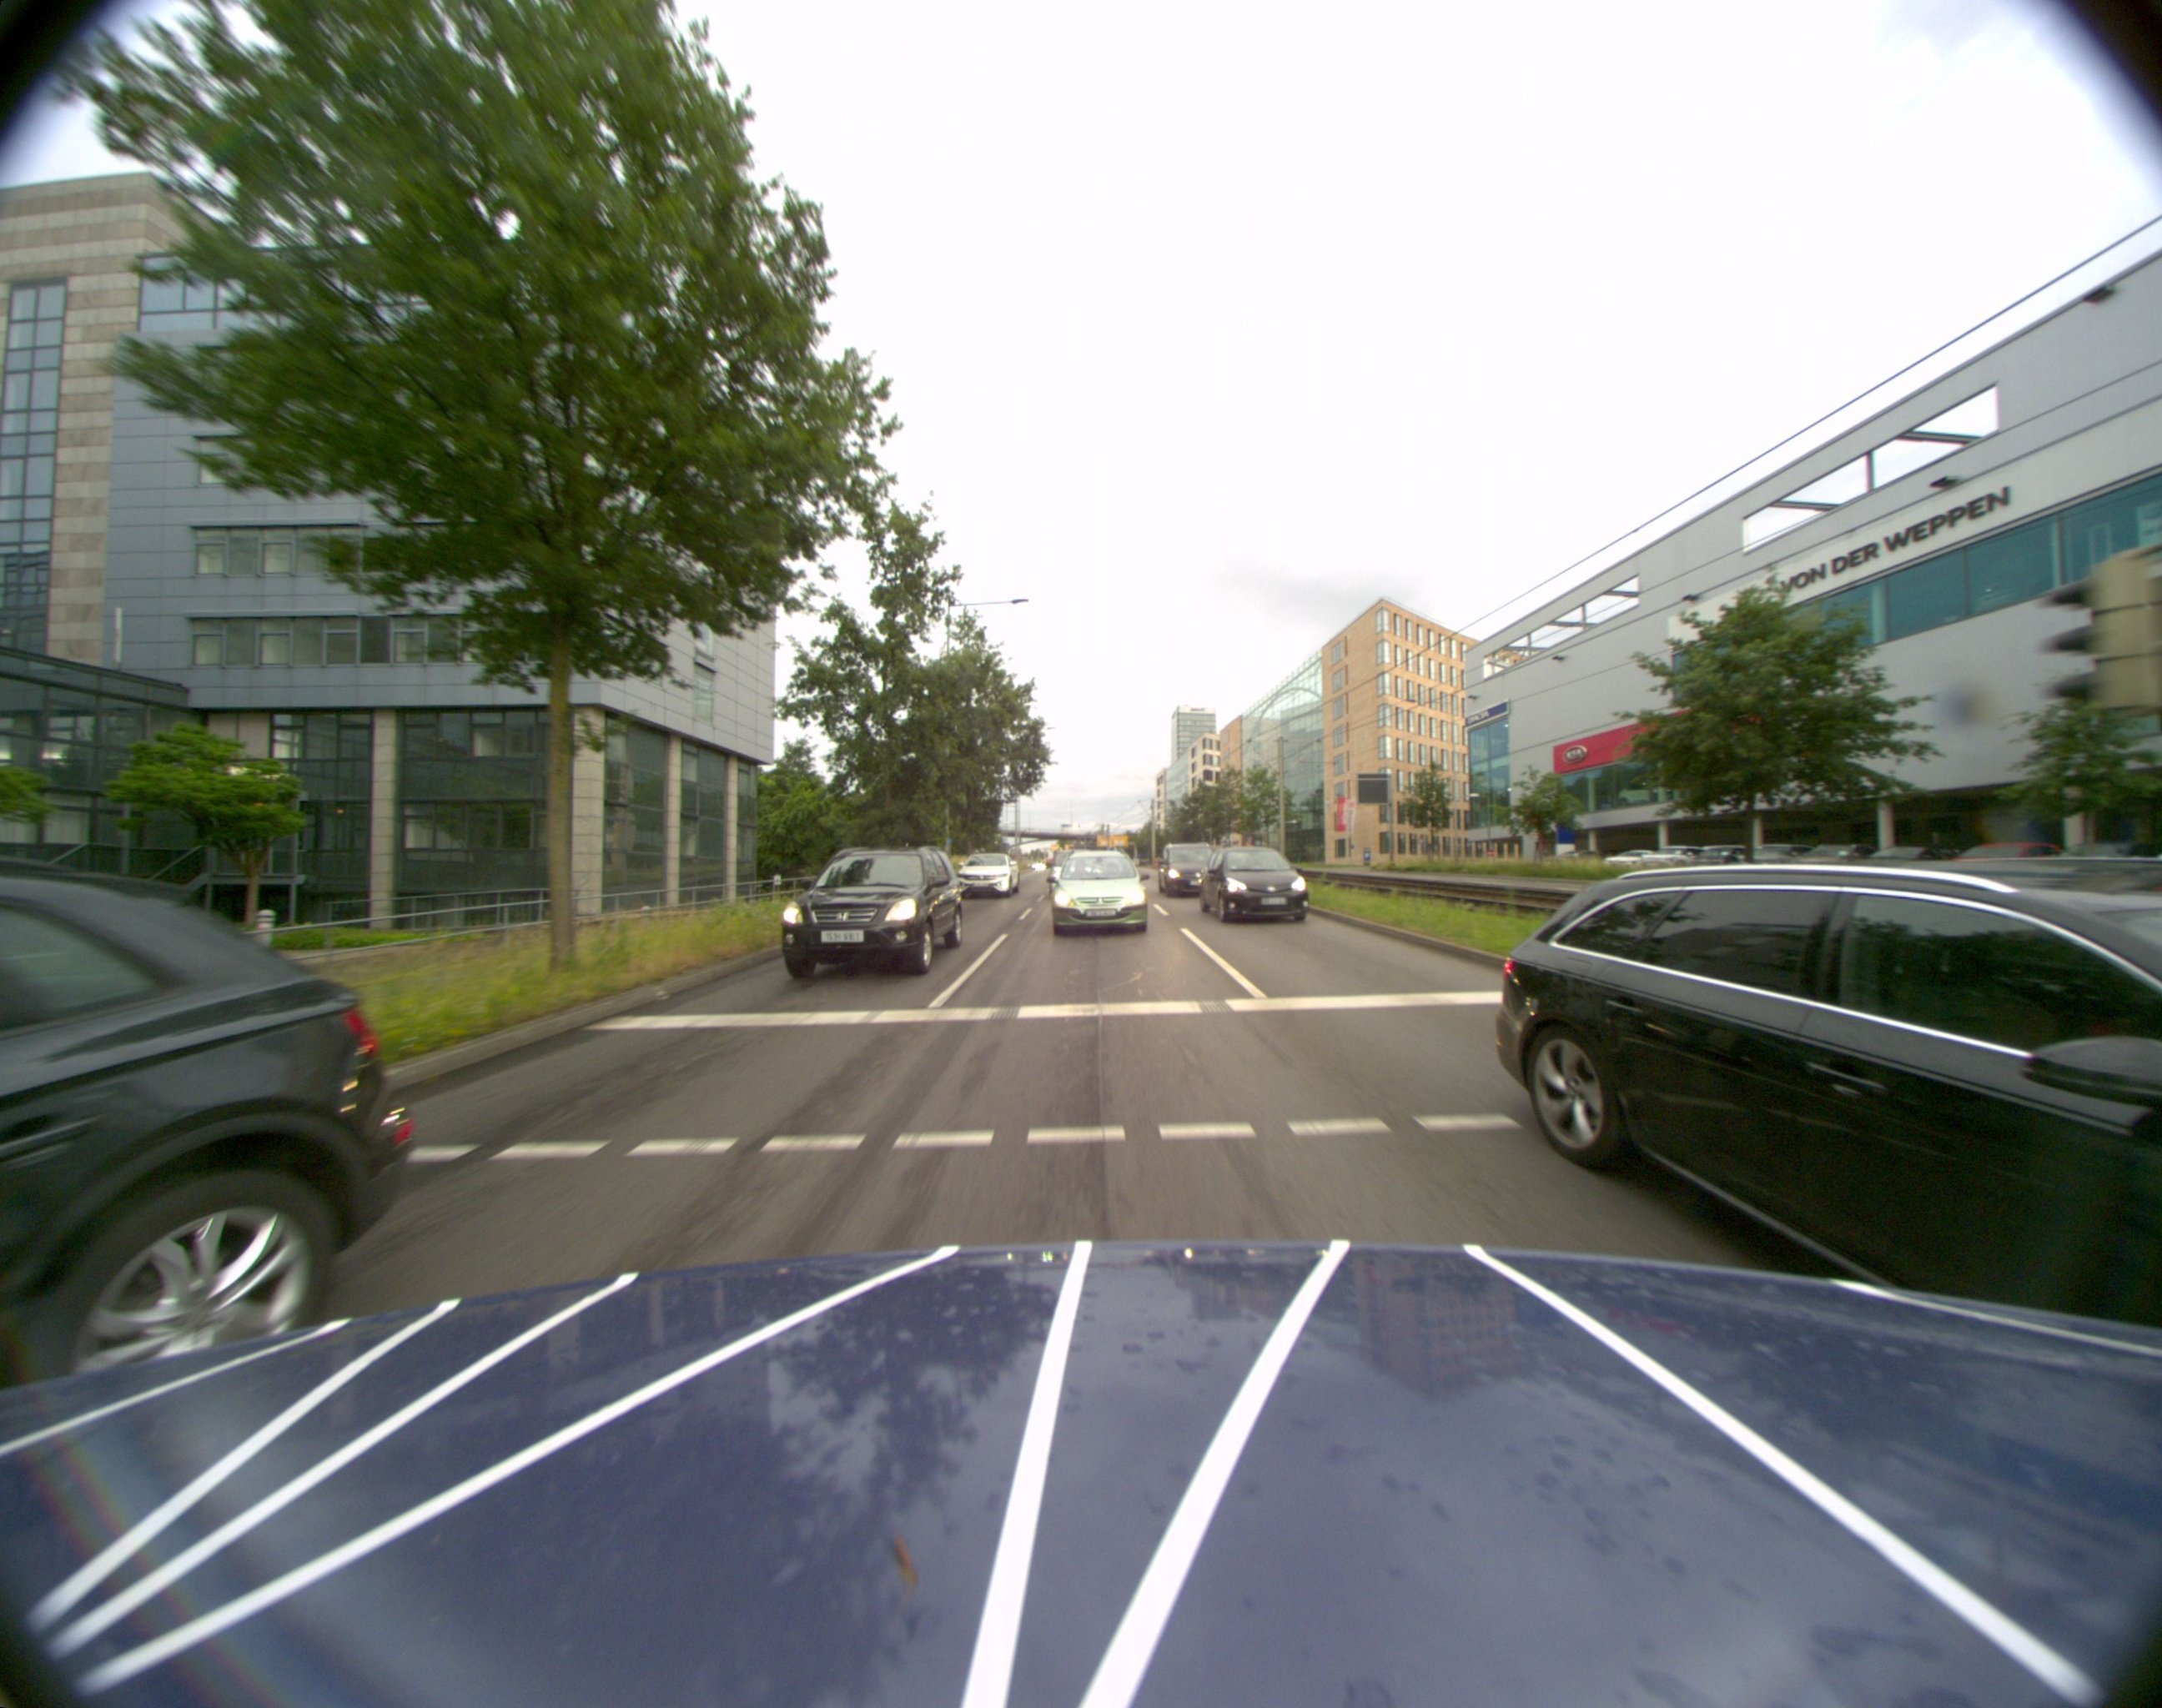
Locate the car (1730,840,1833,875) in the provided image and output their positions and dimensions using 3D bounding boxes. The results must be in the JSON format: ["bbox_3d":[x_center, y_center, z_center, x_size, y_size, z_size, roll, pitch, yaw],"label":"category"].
[{"bbox_3d":[32.321,0.165,35.069,3.845,1.482,1.821,-1,0,-17],"label":"car"}]

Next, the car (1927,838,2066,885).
[{"bbox_3d":[32.369,0.246,26.887,3.845,1.482,1.821,-1,0,-17],"label":"car"}]

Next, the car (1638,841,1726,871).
[{"bbox_3d":[32.006,0.104,40.510,3.845,1.482,1.821,-1,0,-17],"label":"car"}]

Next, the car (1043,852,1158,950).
[{"bbox_3d":[0.335,0.747,14.352,1.803,1.533,4.374,-1,0,1],"label":"car"}]

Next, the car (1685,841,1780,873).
[{"bbox_3d":[32.359,0.135,37.756,3.845,1.482,1.821,-1,0,-17],"label":"car"}]

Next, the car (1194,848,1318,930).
[{"bbox_3d":[3.585,0.658,16.287,1.798,1.493,4.000,-1,0,1],"label":"car"}]

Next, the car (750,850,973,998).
[{"bbox_3d":[-2.838,0.801,10.988,1.816,1.660,4.548,-1,0,1],"label":"car"}]

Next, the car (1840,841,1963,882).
[{"bbox_3d":[32.187,0.282,29.821,3.845,1.482,1.821,-1,0,-17],"label":"car"}]

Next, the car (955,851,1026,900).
[{"bbox_3d":[-3.061,0.703,26.503,1.873,1.533,4.106,-1,0,1],"label":"car"}]

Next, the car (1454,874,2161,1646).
[{"bbox_3d":[3.055,0.854,2.007,1.794,1.426,4.828,-1,0,1],"label":"car"}]

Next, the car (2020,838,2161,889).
[{"bbox_3d":[32.652,0.273,24.426,3.845,1.482,1.821,-1,0,-17],"label":"car"}]

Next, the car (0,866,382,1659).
[{"bbox_3d":[-3.227,0.895,0.282,1.816,1.660,4.370,-1,0,1],"label":"car"}]

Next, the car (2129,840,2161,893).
[{"bbox_3d":[32.631,0.313,21.832,3.845,1.482,1.821,-1,0,-17],"label":"car"}]

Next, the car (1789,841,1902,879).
[{"bbox_3d":[32.416,0.251,32.230,3.845,1.482,1.821,-1,0,-17],"label":"car"}]

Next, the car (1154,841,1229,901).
[{"bbox_3d":[3.399,0.488,24.037,1.781,1.670,4.130,-1,0,1],"label":"car"}]

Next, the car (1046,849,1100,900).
[{"bbox_3d":[-0.228,0.625,24.982,1.598,1.533,3.707,-1,0,1],"label":"car"}]

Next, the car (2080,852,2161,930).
[{"bbox_3d":[21.961,0.741,13.524,1.998,1.428,4.873,-2,1,1],"label":"car"}]

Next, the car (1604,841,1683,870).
[{"bbox_3d":[31.900,0.077,43.104,3.846,1.482,1.820,-1,0,-22],"label":"car"}]
